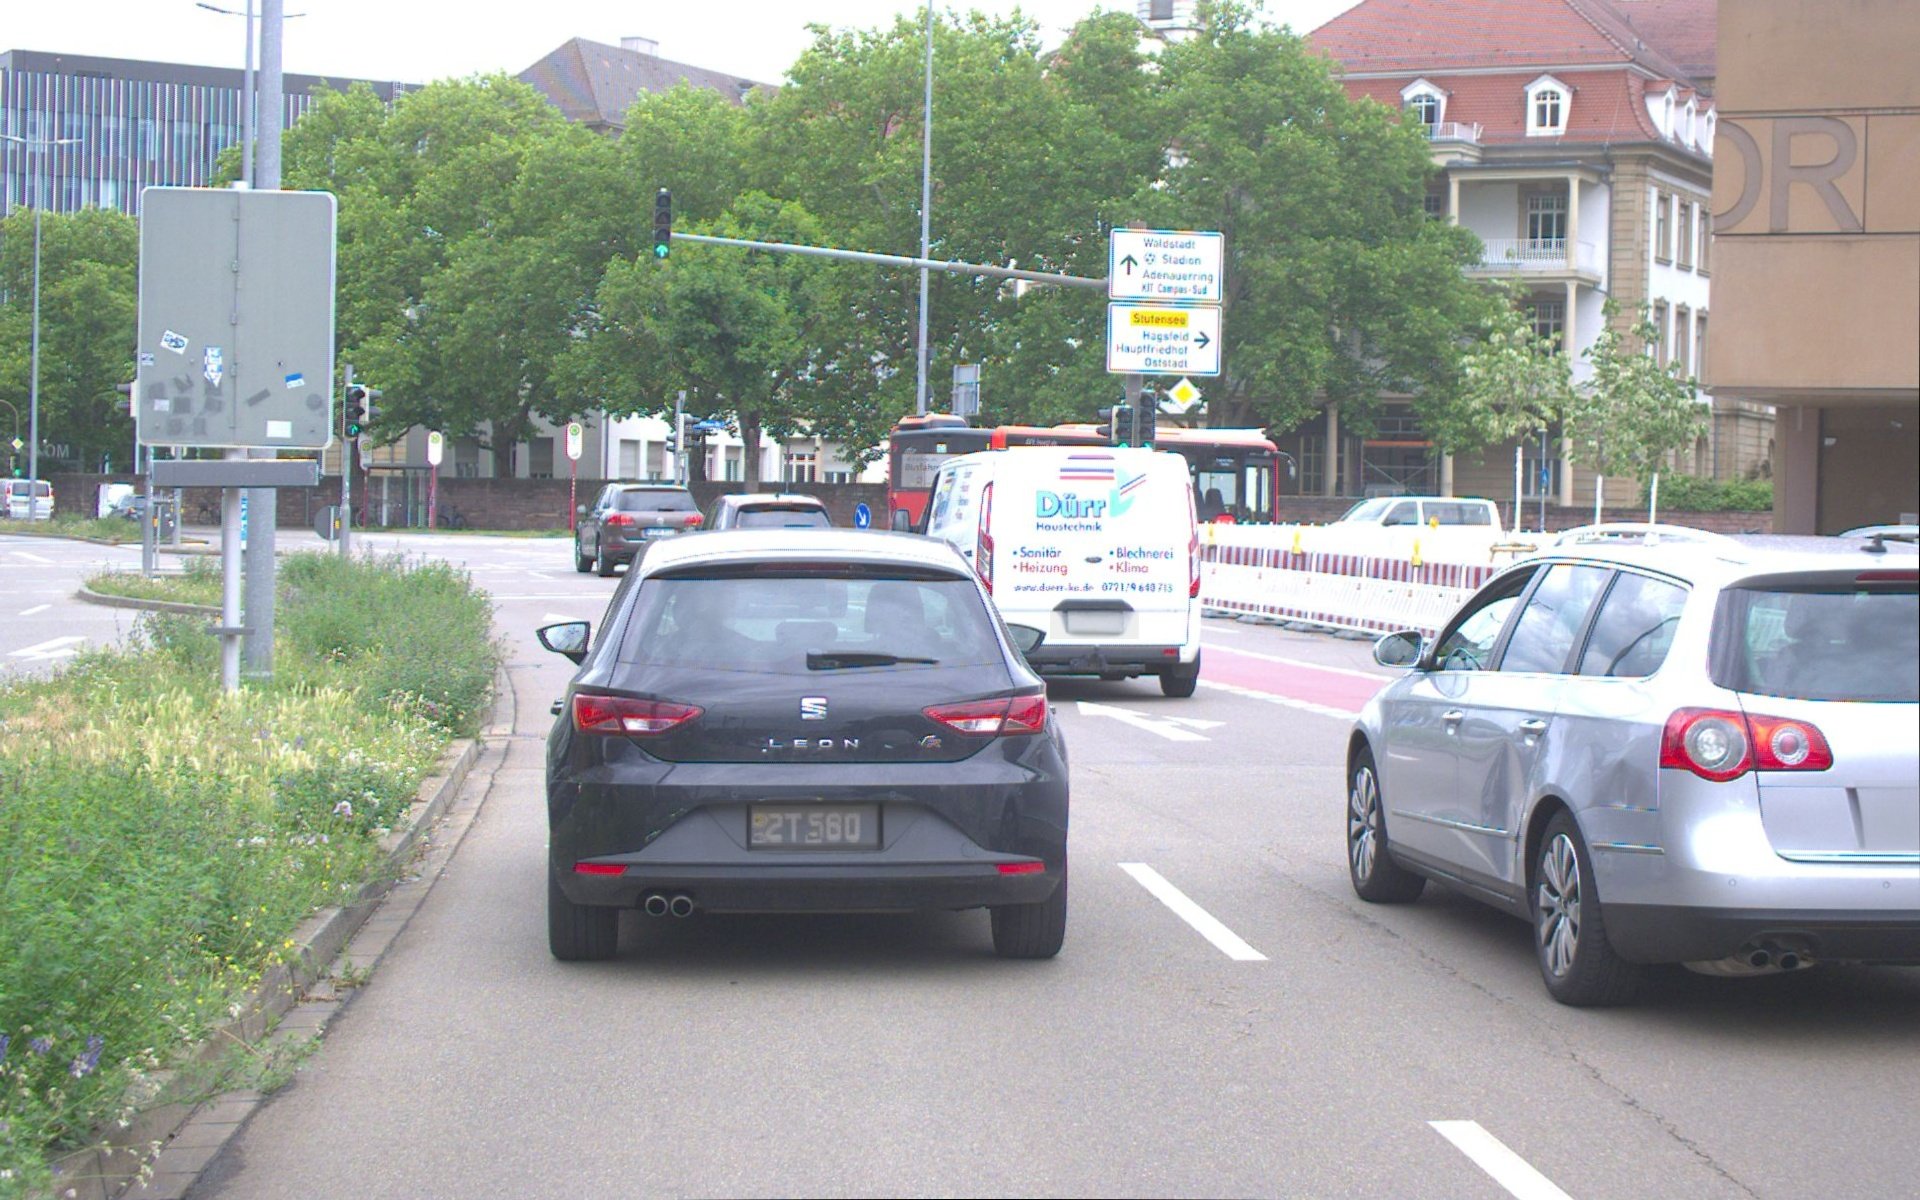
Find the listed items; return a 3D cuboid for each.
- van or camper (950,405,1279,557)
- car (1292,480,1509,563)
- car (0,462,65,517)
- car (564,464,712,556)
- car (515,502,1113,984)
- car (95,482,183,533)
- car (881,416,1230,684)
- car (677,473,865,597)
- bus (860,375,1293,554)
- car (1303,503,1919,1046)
[{"bbox_3d":[3.611,-2.704,79.815,7.128,3.320,2.877,0,1,-29],"label":"van or camper"},{"bbox_3d":[10.730,-1.890,83.648,4.988,1.858,2.000,0,-1,-28],"label":"car"},{"bbox_3d":[-34.677,-4.112,127.563,1.993,2.006,4.001,0,2,-28],"label":"car"},{"bbox_3d":[-5.856,-1.639,62.115,1.993,1.560,4.207,1,2,-14],"label":"car"},{"bbox_3d":[-0.697,0.382,12.677,1.745,1.459,4.001,-1,2,-9],"label":"car"},{"bbox_3d":[-28.946,-3.268,121.128,1.917,1.678,4.001,0,2,-30],"label":"car"},{"bbox_3d":[0.681,-0.457,28.784,1.993,2.012,5.033,1,2,-9],"label":"car"},{"bbox_3d":[-2.636,-0.921,47.047,1.857,1.594,4.206,1,2,-13],"label":"car"},{"bbox_3d":[2.671,-2.661,70.656,3.064,3.286,12.357,2,2,32],"label":"bus"},{"bbox_3d":[2.520,0.421,11.881,1.720,1.477,4.630,0,2,-6],"label":"car"}]
